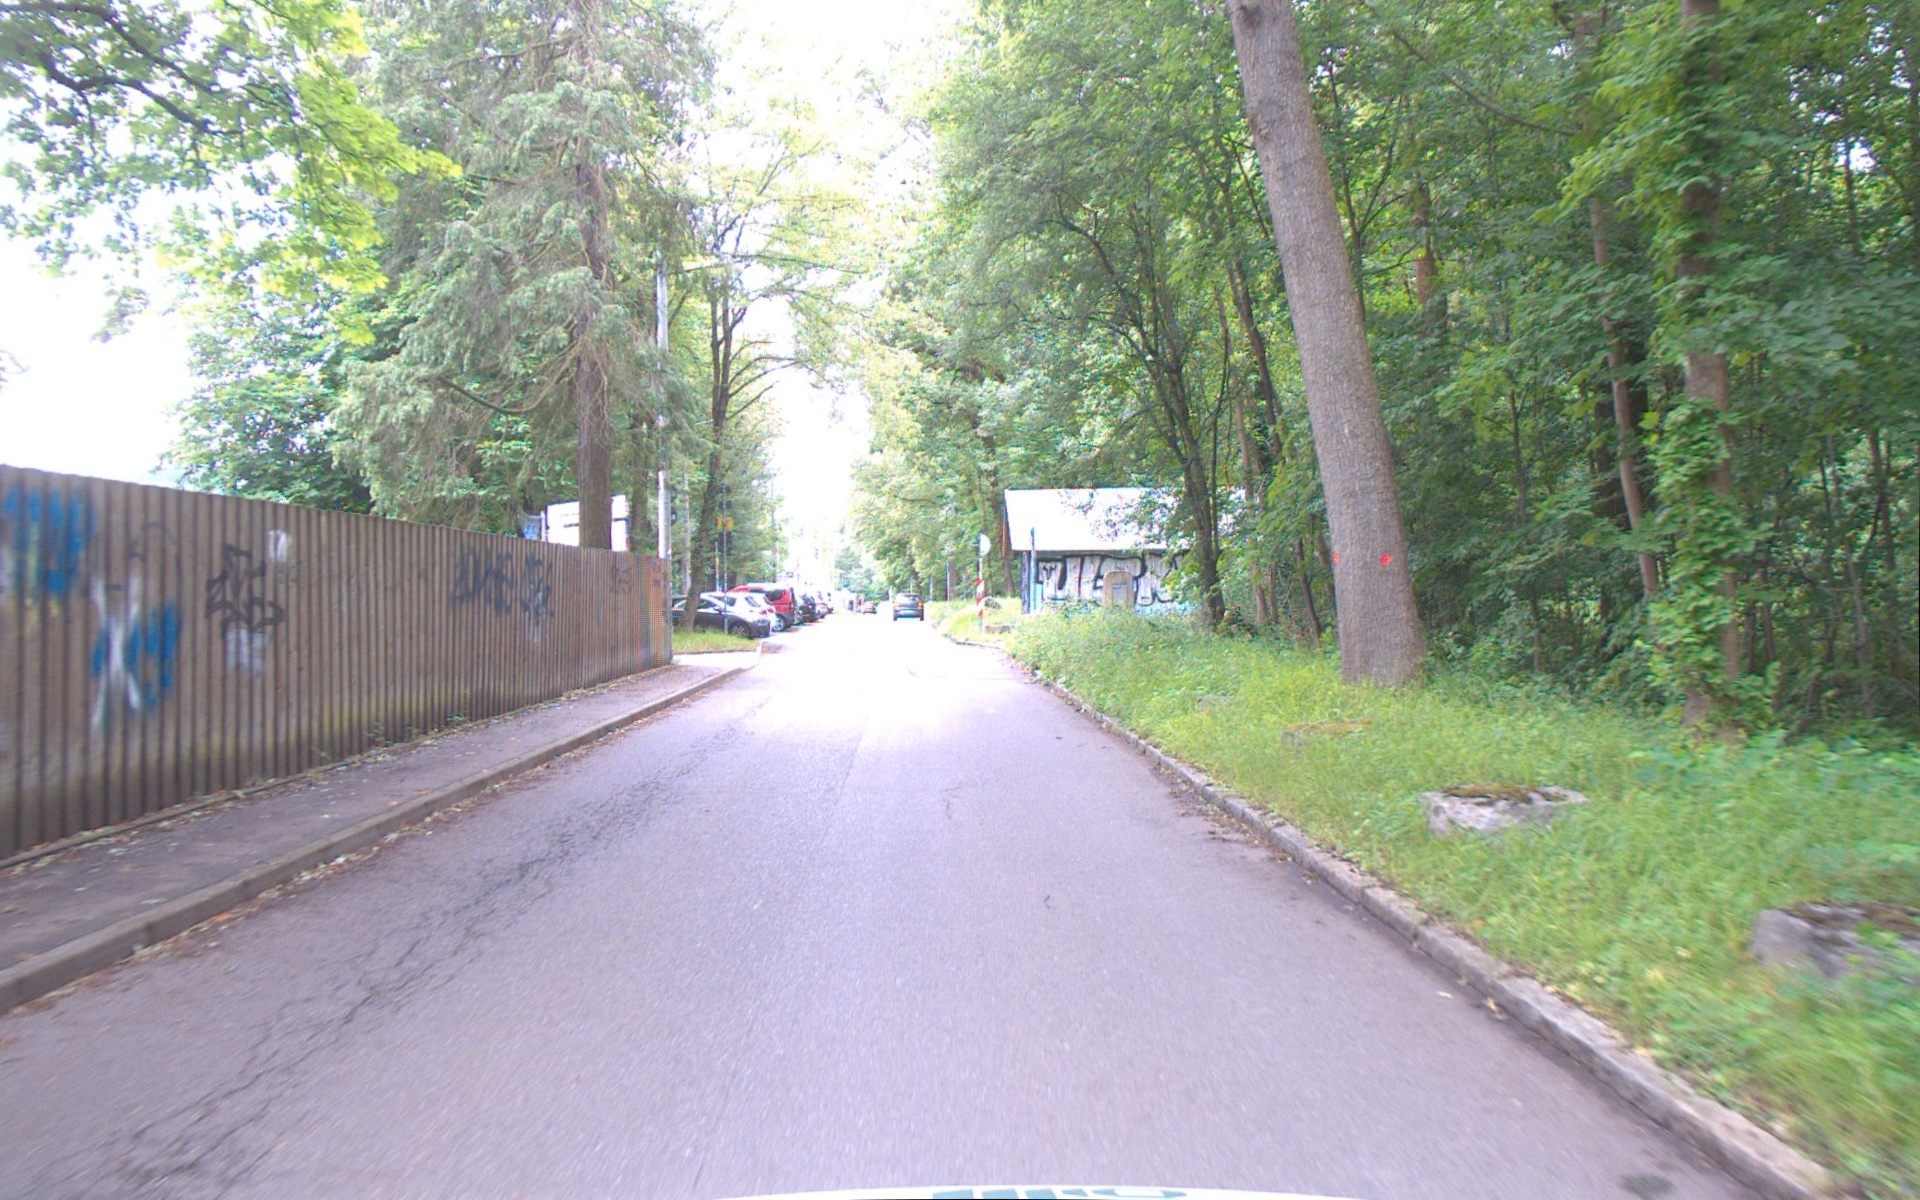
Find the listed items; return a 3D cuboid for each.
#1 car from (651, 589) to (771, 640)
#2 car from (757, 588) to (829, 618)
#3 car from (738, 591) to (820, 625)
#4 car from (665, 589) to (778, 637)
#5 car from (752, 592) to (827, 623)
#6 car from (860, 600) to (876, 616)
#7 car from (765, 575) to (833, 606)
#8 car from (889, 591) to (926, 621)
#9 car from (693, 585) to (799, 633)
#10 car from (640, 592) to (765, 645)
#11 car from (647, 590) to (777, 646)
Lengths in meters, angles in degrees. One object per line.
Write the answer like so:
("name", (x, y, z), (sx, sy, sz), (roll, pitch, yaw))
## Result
("car", (-8.530, 0.488, 56.957), (3.910, 1.601, 1.998), (-1, 0, -6))
("car", (-8.474, 0.151, 84.291), (3.500, 1.432, 1.649), (-2, 0, -2))
("car", (-8.152, 0.362, 74.580), (3.500, 1.432, 1.649), (-2, 0, -2))
("car", (-8.627, 0.468, 60.044), (3.910, 1.601, 1.998), (-1, 0, -6))
("car", (-8.345, 0.374, 81.125), (3.500, 1.432, 1.649), (-2, 0, -2))
("car", (-12.876, 1.125, 231.704), (1.956, 2.049, 3.993), (-2, 0, -7))
("car", (-9.705, -0.562, 99.809), (3.907, 1.624, 1.764), (-3, 0, -3))
("car", (-2.789, 0.321, 88.390), (1.869, 1.534, 3.999), (1, 0, -1))
("car", (-8.408, 0.350, 65.274), (3.906, 1.780, 2.000), (-1, 0, -1))
("car", (-8.414, 0.581, 54.424), (3.910, 1.601, 1.998), (-2, 0, -6))
("car", (-7.775, 0.549, 52.116), (3.910, 1.601, 1.998), (-2, 0, -6))
